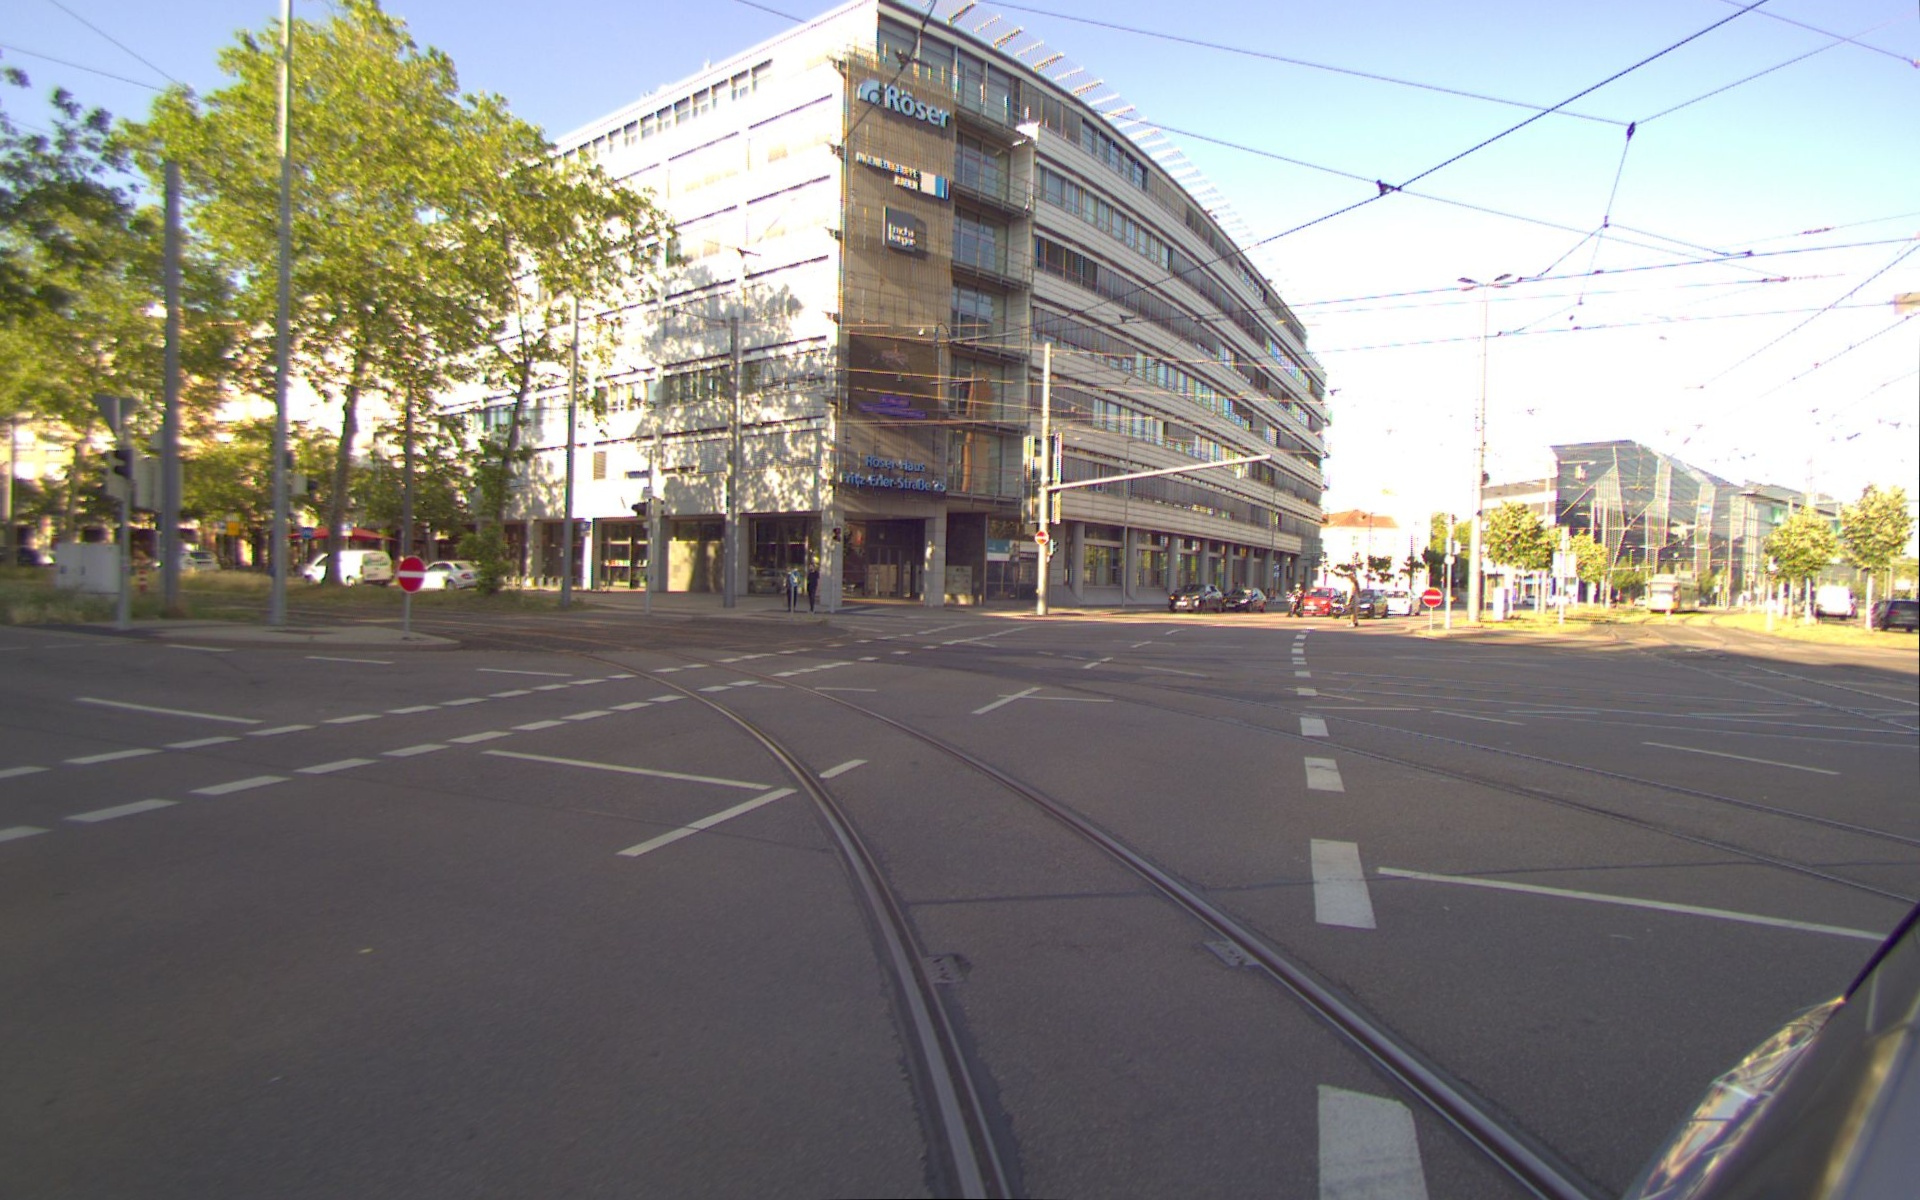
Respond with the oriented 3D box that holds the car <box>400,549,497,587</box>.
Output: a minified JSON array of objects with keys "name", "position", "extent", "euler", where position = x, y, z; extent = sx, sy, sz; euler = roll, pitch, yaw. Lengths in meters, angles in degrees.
[{"name":"car","position":[-23.325,-1.474,46.104],"extent":[4.286,1.571,1.842],"euler":[2,2,28]}]

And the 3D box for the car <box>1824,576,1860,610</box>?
[{"name":"car","position":[69.532,-0.541,79.749],"extent":[1.993,2.511,5.882],"euler":[2,1,42]}]

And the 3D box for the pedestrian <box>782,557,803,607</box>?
[{"name":"pedestrian","position":[-6.301,-0.689,38.079],"extent":[0.580,1.846,0.543],"euler":[1,1,11]}]

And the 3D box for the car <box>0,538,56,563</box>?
[{"name":"car","position":[-61.624,-3.254,66.449],"extent":[4.290,1.571,2.246],"euler":[2,2,31]}]

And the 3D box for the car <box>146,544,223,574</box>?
[{"name":"car","position":[-42.847,-2.286,55.917],"extent":[4.286,1.571,1.842],"euler":[2,2,28]}]

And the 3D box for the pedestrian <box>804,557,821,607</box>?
[{"name":"pedestrian","position":[-5.527,-0.678,37.890],"extent":[0.538,1.846,0.373],"euler":[1,1,11]}]

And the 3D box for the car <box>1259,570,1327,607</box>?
[{"name":"car","position":[16.008,-0.533,48.558],"extent":[1.895,1.641,3.811],"euler":[2,1,39]}]

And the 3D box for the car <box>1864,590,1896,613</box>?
[{"name":"car","position":[86.120,0.134,94.710],"extent":[3.816,2.038,1.611],"euler":[0,2,-38]}]

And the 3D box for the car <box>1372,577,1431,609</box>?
[{"name":"car","position":[23.839,-0.365,54.607],"extent":[1.895,1.641,4.113],"euler":[2,1,39]}]

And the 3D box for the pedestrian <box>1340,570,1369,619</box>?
[{"name":"pedestrian","position":[14.330,-0.213,36.744],"extent":[0.833,1.709,0.646],"euler":[2,2,11]}]

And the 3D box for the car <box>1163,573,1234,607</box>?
[{"name":"car","position":[12.166,-0.503,51.422],"extent":[1.895,1.641,4.113],"euler":[2,1,39]}]

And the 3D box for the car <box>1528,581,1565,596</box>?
[{"name":"car","position":[79.018,-1.526,136.458],"extent":[3.948,1.883,1.988],"euler":[2,2,19]}]

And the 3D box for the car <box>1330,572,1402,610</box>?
[{"name":"car","position":[18.954,-0.388,47.126],"extent":[1.895,1.641,4.460],"euler":[2,1,39]}]

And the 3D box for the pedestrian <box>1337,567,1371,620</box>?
[{"name":"pedestrian","position":[14.041,-0.238,36.104],"extent":[0.952,1.865,0.697],"euler":[1,1,11]}]

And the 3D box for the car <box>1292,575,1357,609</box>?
[{"name":"car","position":[18.669,-0.401,51.777],"extent":[1.895,1.641,4.113],"euler":[2,1,39]}]

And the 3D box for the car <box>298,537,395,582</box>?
[{"name":"car","position":[-29.612,-1.949,48.841],"extent":[4.340,2.038,1.983],"euler":[2,2,26]}]

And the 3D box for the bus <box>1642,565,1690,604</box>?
[{"name":"bus","position":[65.660,-1.378,94.253],"extent":[2.704,3.451,9.565],"euler":[2,1,30]}]

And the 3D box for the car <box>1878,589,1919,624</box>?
[{"name":"car","position":[47.487,0.350,50.560],"extent":[1.607,1.622,4.127],"euler":[5,2,32]}]
